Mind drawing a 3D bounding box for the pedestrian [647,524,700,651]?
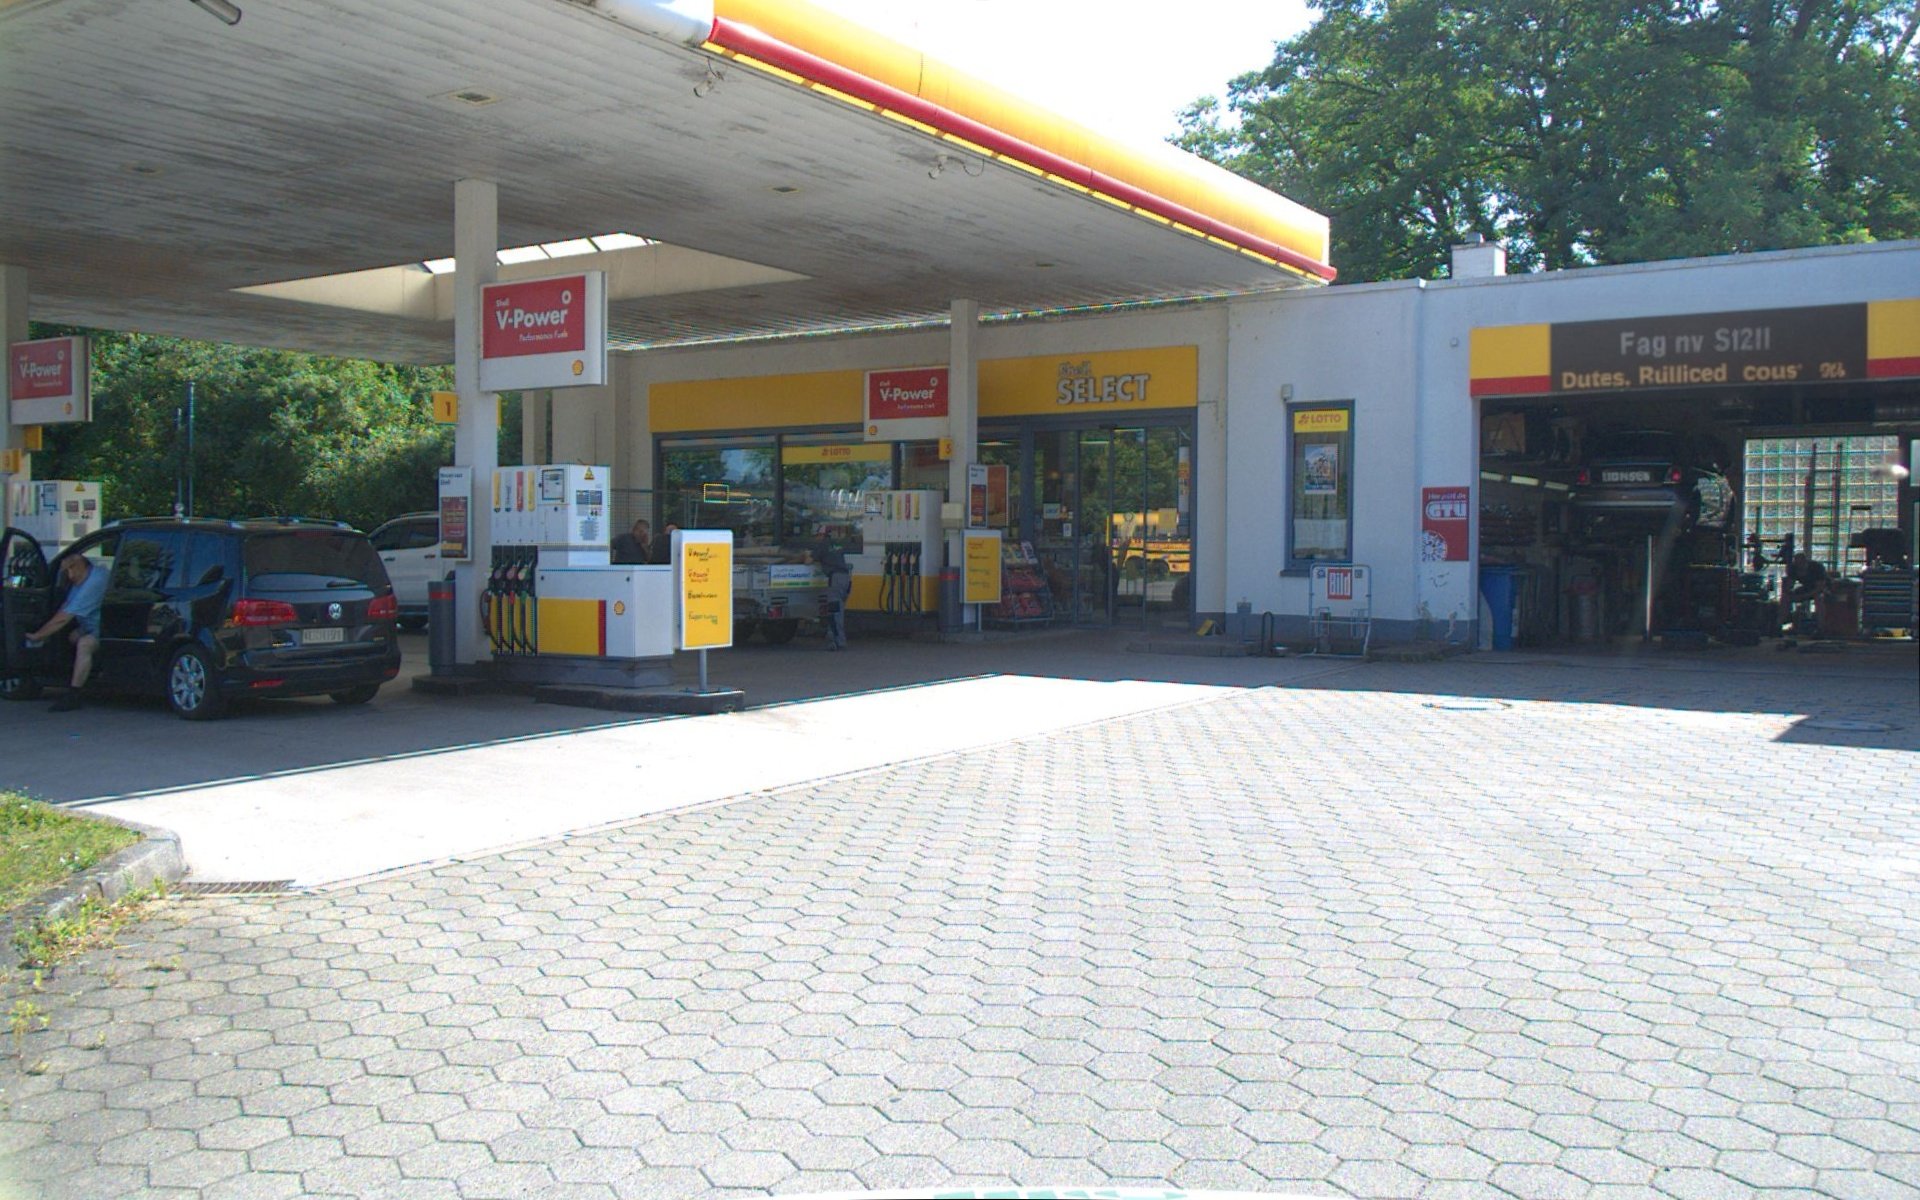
[{"bbox_3d":[-3.706,-0.171,21.389,0.466,1.621,0.499,1,2,37],"label":"pedestrian"}]

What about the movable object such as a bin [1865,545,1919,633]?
[{"bbox_3d":[13.662,-0.163,24.081,0.783,1.258,0.542,0,-1,36],"label":"movable object such as a bin"}]

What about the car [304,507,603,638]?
[{"bbox_3d":[-7.891,-0.447,25.631,4.679,1.869,1.853,1,2,33],"label":"car"}]

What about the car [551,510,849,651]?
[{"bbox_3d":[-3.576,-0.278,22.508,3.922,1.758,1.826,1,1,38],"label":"car"}]

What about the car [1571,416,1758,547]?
[{"bbox_3d":[9.952,-1.580,23.207,1.618,1.512,3.985,1,0,35],"label":"car"}]

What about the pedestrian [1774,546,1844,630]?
[{"bbox_3d":[12.517,-0.172,24.378,0.848,1.219,0.741,0,-1,33],"label":"pedestrian"}]

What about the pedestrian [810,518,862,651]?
[{"bbox_3d":[-1.608,-0.203,21.453,0.490,1.697,0.474,1,1,35],"label":"pedestrian"}]

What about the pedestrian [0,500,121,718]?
[{"bbox_3d":[-7.569,0.059,13.895,0.797,1.759,0.671,1,1,39],"label":"pedestrian"}]

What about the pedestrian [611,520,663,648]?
[{"bbox_3d":[-4.273,-0.218,21.903,0.466,1.660,0.499,1,2,37],"label":"pedestrian"}]

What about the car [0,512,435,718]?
[{"bbox_3d":[-6.625,0.066,14.644,3.796,1.606,1.761,1,2,32],"label":"car"}]
